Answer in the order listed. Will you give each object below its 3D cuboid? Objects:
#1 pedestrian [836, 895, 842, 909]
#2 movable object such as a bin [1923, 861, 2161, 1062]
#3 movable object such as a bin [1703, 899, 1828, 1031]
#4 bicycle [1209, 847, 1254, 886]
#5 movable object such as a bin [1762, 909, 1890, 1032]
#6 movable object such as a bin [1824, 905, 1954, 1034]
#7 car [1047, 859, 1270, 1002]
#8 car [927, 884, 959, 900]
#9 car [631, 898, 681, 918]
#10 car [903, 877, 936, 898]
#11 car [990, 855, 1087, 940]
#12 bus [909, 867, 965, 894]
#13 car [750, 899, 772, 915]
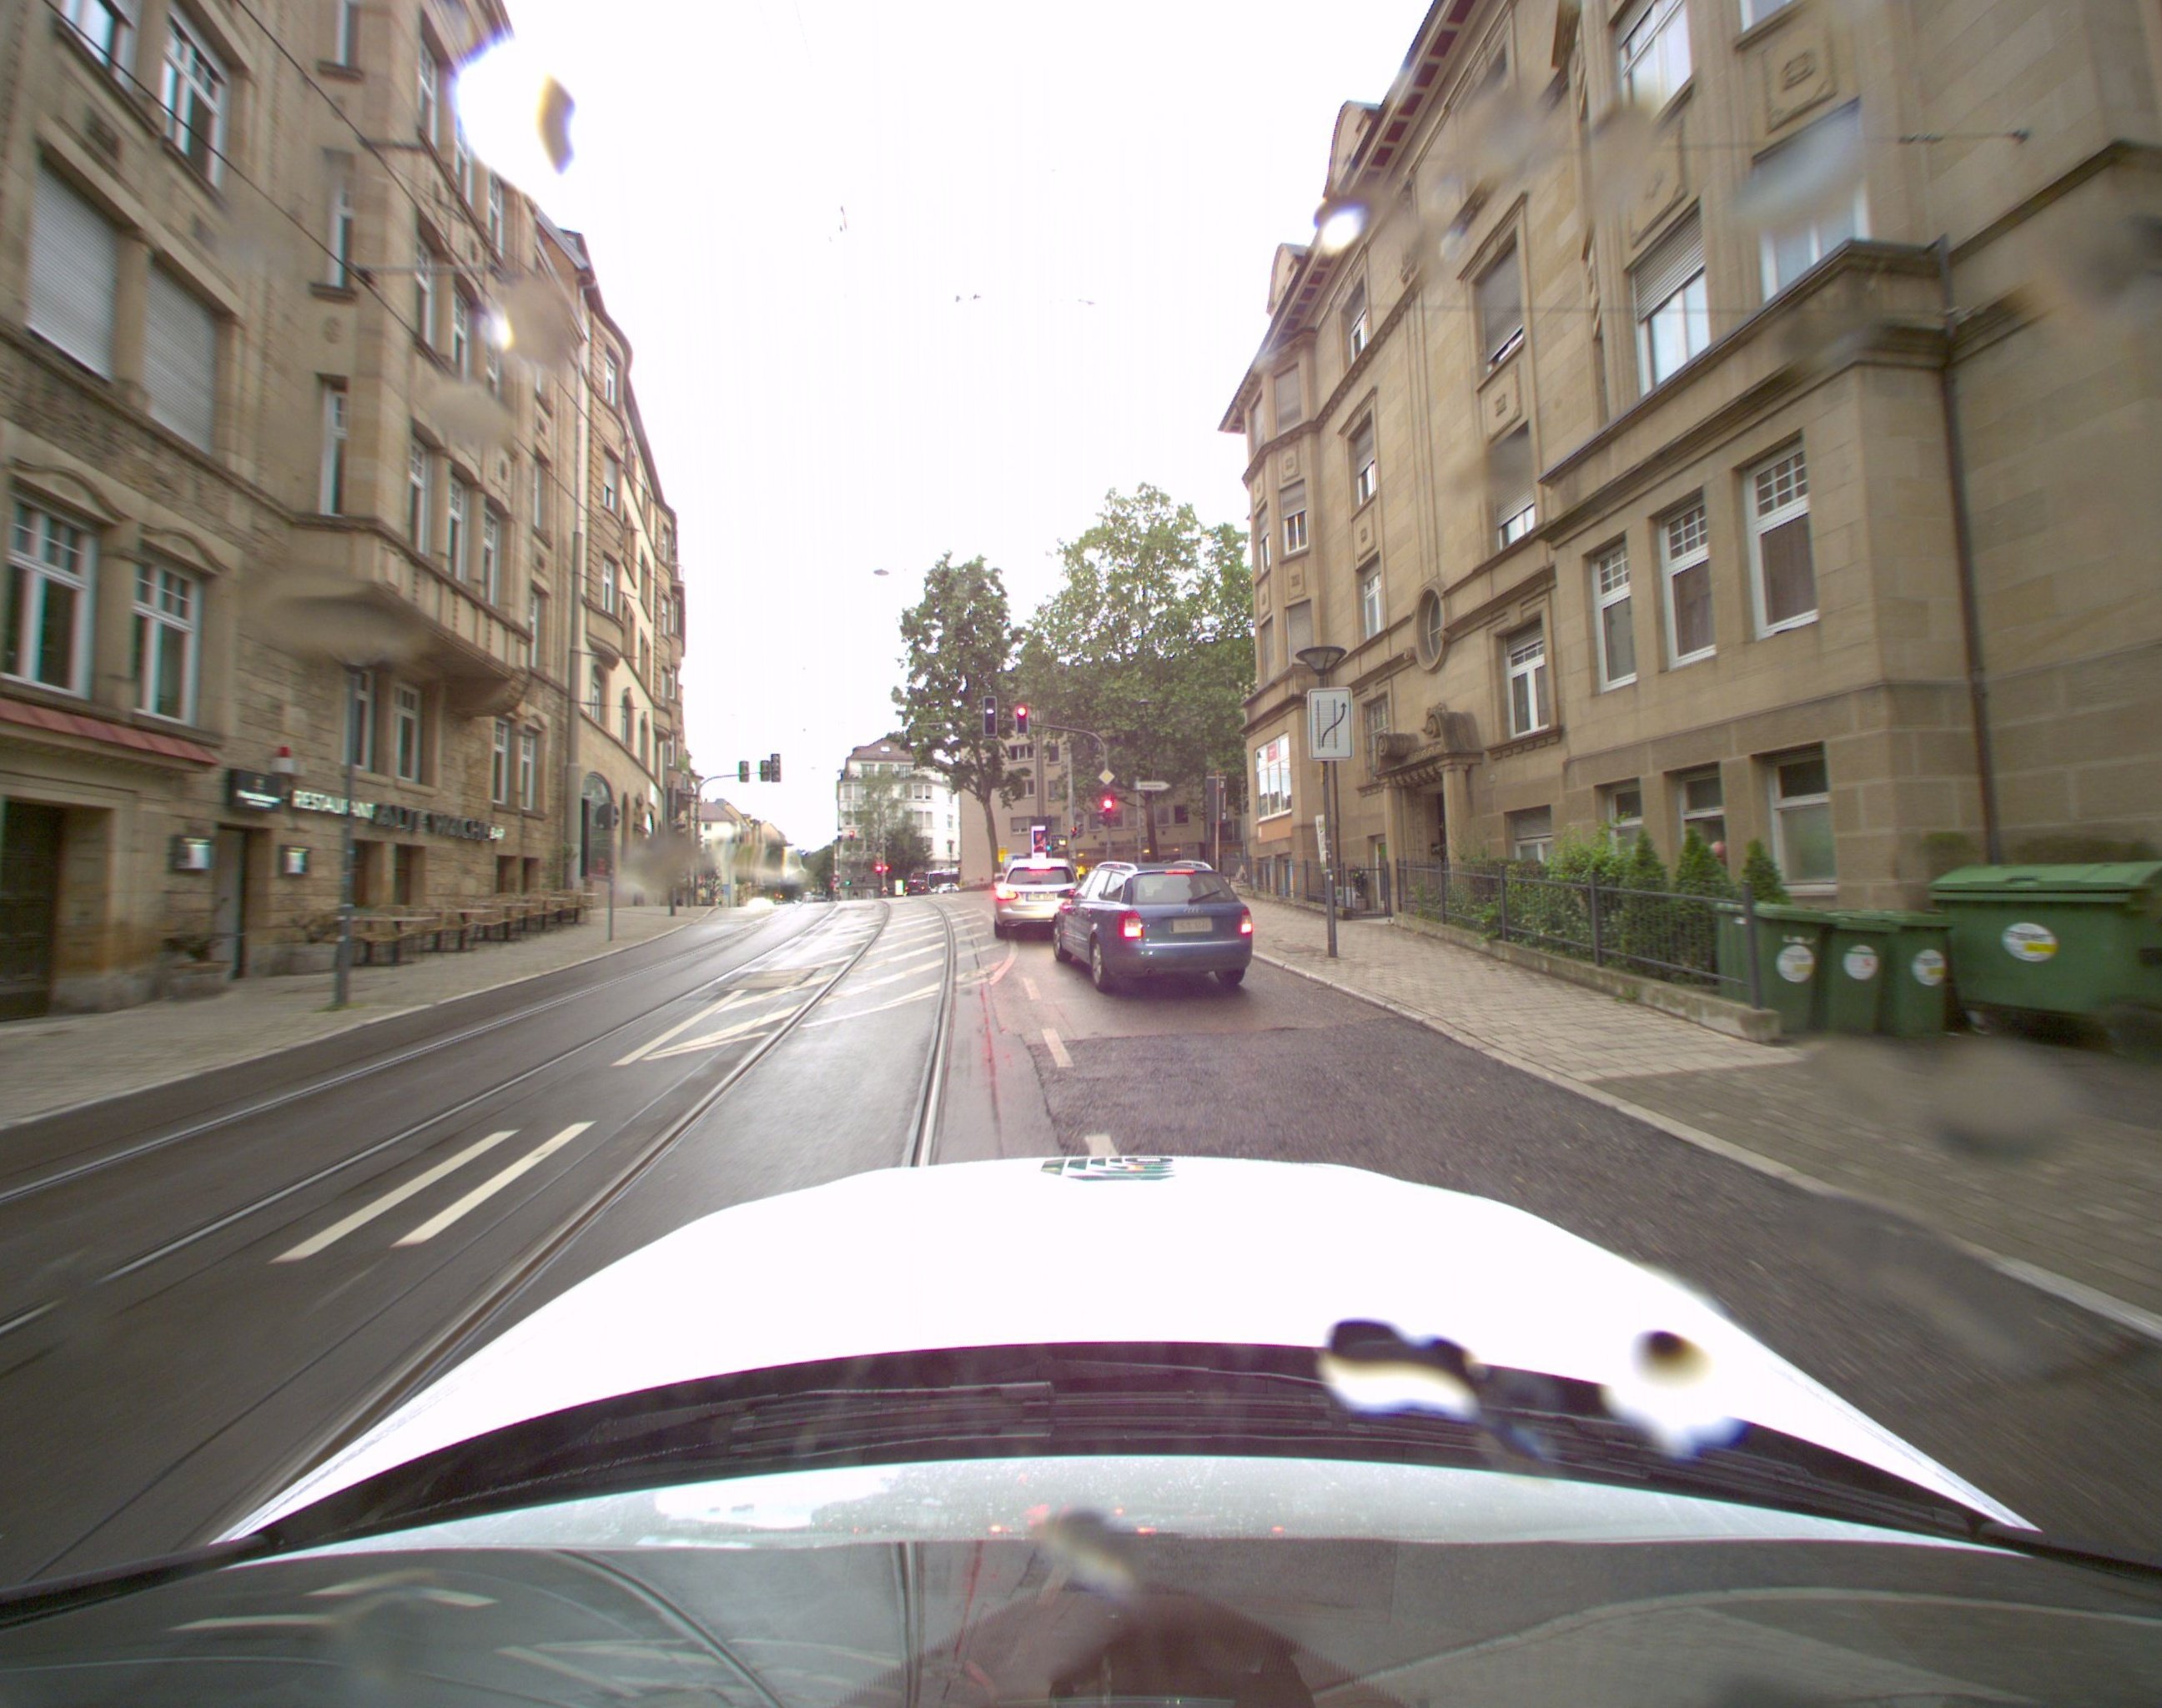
[{"bbox_3d":[-29.108,5.778,97.910,0.649,1.661,0.646,-1,-1,-17],"label":"pedestrian"},{"bbox_3d":[7.889,0.800,6.520,0.970,1.432,1.276,3,-2,-8],"label":"movable object such as a bin"},{"bbox_3d":[5.757,0.915,6.873,0.537,1.026,0.602,3,-2,-8],"label":"movable object such as a bin"},{"bbox_3d":[4.938,0.409,26.807,1.300,1.173,0.524,-4,0,-9],"label":"bicycle"},{"bbox_3d":[6.334,0.972,6.941,0.537,0.968,0.602,3,-2,-8],"label":"movable object such as a bin"},{"bbox_3d":[6.970,0.975,7.044,0.537,1.026,0.602,3,-2,-8],"label":"movable object such as a bin"},{"bbox_3d":[0.753,0.794,10.490,1.712,1.415,4.019,-1,0,-12],"label":"car"},{"bbox_3d":[-15.659,4.318,92.634,1.779,1.510,4.021,-2,0,21],"label":"car"},{"bbox_3d":[-40.096,5.074,76.880,4.005,1.510,1.786,-2,0,-24],"label":"car"},{"bbox_3d":[-14.237,2.944,72.046,1.787,1.510,4.003,-4,0,3],"label":"car"},{"bbox_3d":[-0.848,0.774,16.277,1.707,1.456,3.548,-1,0,-4],"label":"car"},{"bbox_3d":[-17.339,3.143,98.921,2.831,2.861,8.774,-2,0,18],"label":"bus"},{"bbox_3d":[-34.992,5.774,88.904,1.804,1.510,4.625,-2,0,-26],"label":"car"}]
